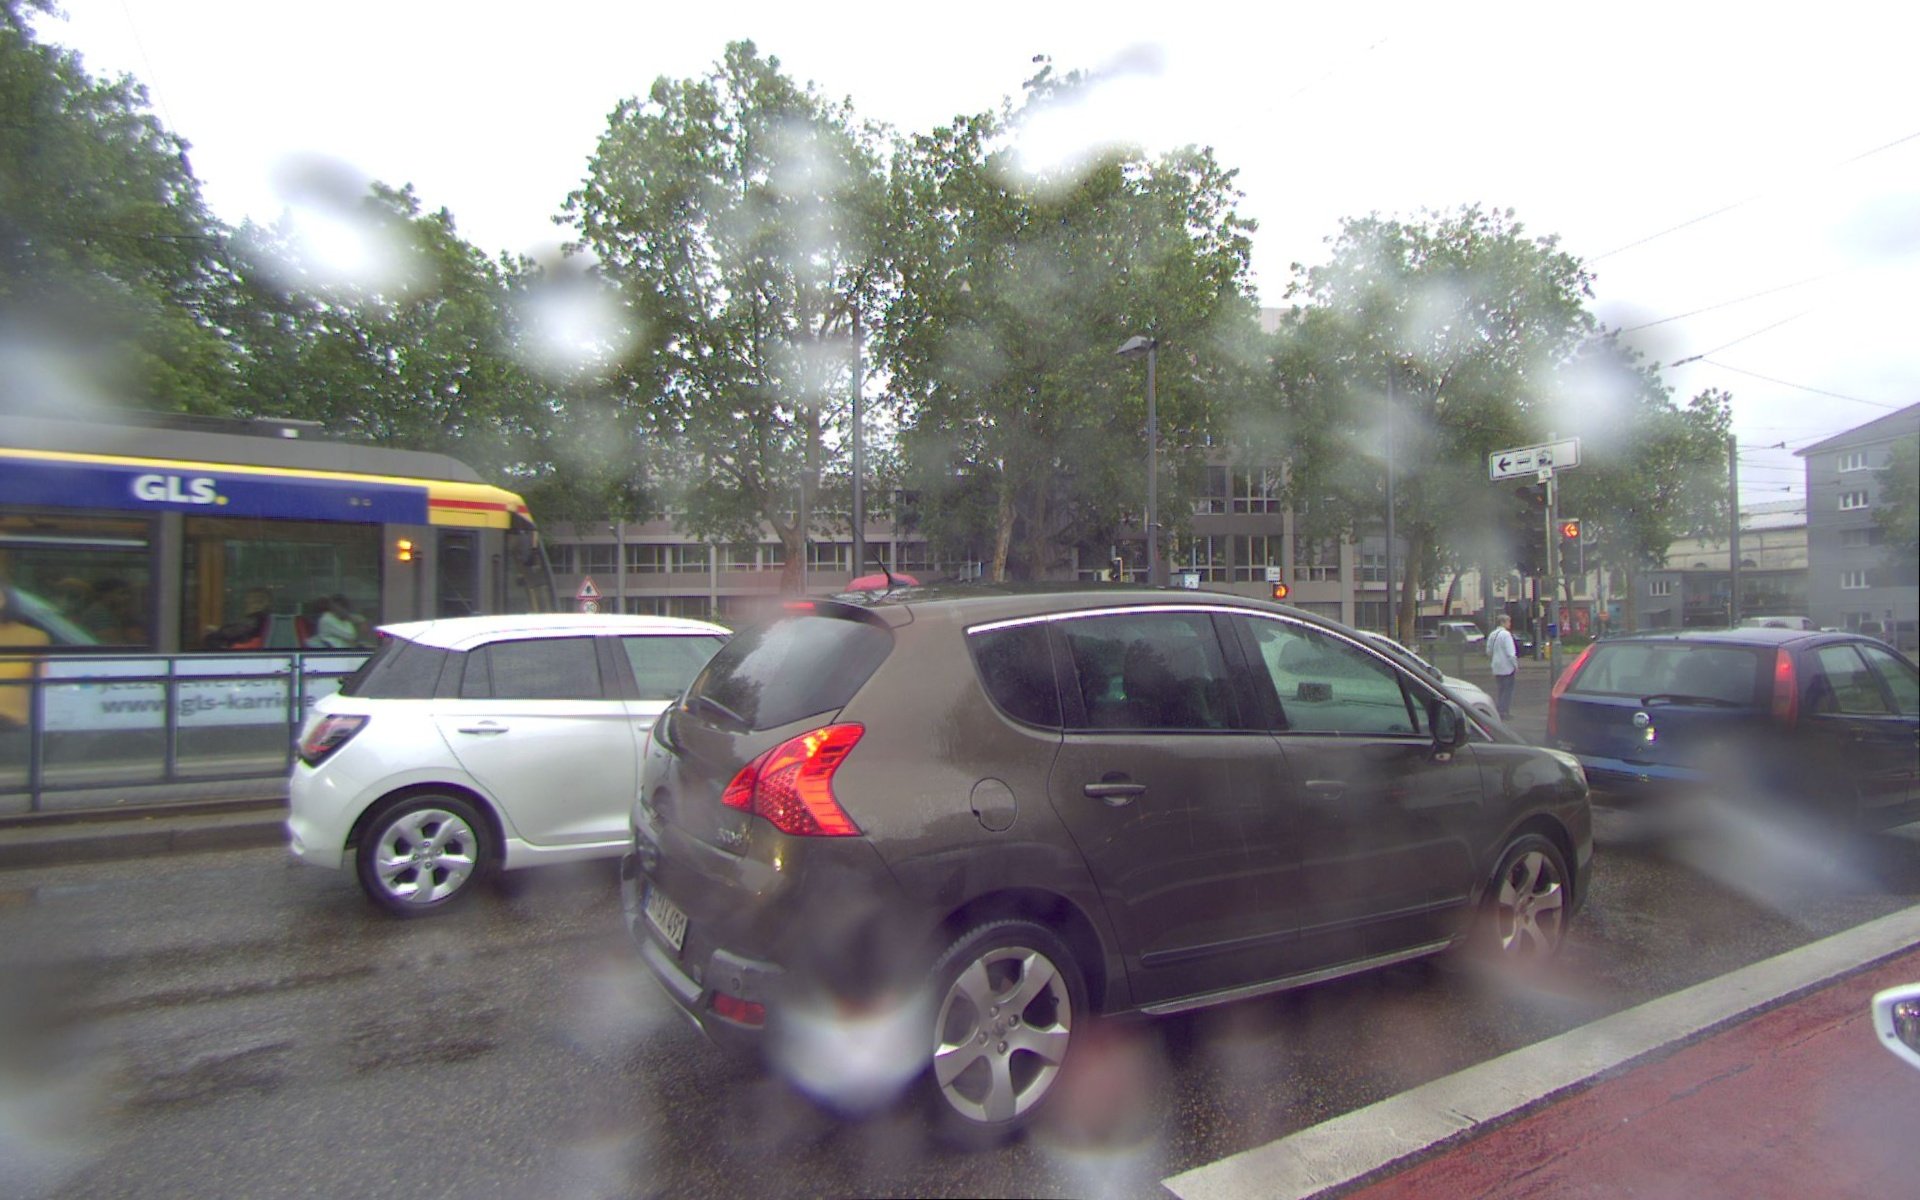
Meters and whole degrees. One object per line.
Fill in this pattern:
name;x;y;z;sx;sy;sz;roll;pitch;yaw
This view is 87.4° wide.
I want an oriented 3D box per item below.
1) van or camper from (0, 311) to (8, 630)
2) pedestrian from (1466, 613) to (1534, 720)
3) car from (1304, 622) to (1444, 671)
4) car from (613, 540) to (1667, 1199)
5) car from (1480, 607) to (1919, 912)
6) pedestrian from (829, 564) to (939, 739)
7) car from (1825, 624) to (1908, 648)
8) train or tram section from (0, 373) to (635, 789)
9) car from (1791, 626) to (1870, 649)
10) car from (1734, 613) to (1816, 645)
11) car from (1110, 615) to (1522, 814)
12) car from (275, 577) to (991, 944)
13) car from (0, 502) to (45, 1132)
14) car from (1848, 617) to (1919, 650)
van or camper;-7.269;-0.083;3.167;5.786;3.183;2.147;1;-2;-32
pedestrian;8.542;1.034;15.891;0.731;1.628;0.623;1;0;-23
car;11.859;1.333;28.812;3.466;1.331;1.594;1;0;-16
car;0.884;0.747;4.174;4.124;1.690;1.826;1;-1;-30
car;5.575;0.880;7.005;3.776;1.599;1.719;1;-1;-30
pedestrian;-0.815;0.539;10.695;0.888;1.769;0.762;0;-3;-30
car;61.806;2.445;68.510;3.922;1.550;1.999;-1;0;-3
train or tram section;-11.046;-0.229;8.622;15.320;3.458;3.524;1;0;-30
car;61.457;2.612;70.948;3.922;1.516;1.960;-1;0;-3
car;59.781;2.094;73.705;4.698;2.228;1.998;-1;1;-6
car;3.390;0.934;9.416;3.737;1.514;1.621;1;-1;-30
car;-1.839;0.772;6.202;3.791;1.650;1.637;1;-2;-30
car;-4.271;0.581;1.142;4.412;1.794;2.014;1;-1;-31
car;60.994;2.200;65.793;3.923;2.040;1.999;1;0;-3
